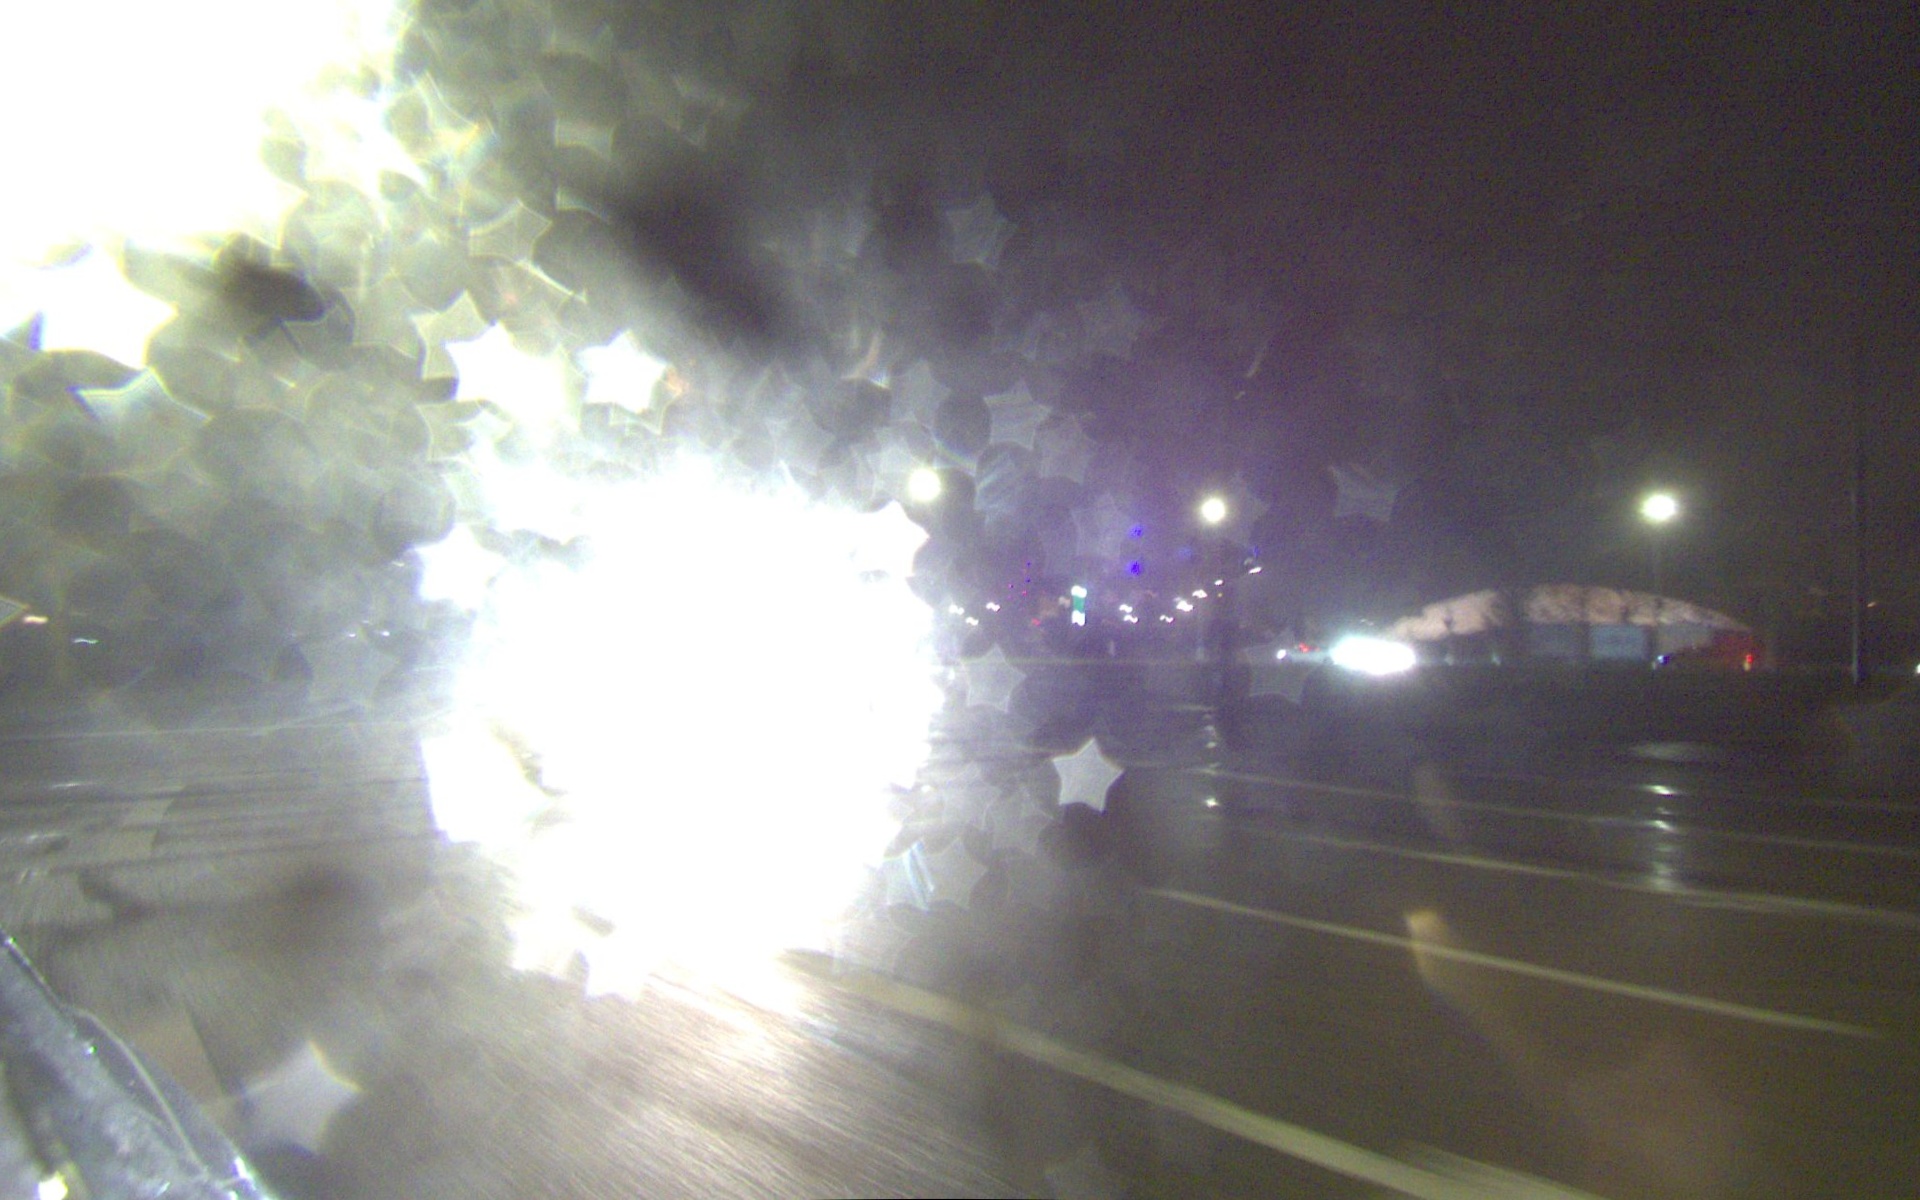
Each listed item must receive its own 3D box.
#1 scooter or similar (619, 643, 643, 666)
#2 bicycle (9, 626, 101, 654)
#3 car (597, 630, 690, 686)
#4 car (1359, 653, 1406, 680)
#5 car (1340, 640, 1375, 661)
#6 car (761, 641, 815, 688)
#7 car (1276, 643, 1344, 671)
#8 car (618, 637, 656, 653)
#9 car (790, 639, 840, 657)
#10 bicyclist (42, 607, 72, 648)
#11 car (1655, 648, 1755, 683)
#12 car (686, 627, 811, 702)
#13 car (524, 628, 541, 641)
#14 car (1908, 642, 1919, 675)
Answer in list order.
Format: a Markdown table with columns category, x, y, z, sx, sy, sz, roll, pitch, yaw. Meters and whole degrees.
| category | x | y | z | sx | sy | sz | roll | pitch | yaw |
| --- | --- | --- | --- | --- | --- | --- | --- | --- | --- |
| scooter or similar | -16.436 | 2.736 | 50.555 | 1.086 | 1.106 | 0.318 | 2 | -2 | -10 |
| bicycle | -32.459 | 1.431 | 36.316 | 2.380 | 0.984 | 0.623 | 0 | -2 | -21 |
| car | -10.564 | 1.887 | 34.097 | 1.923 | 1.732 | 4.443 | -1 | -2 | -2 |
| car | 27.922 | 4.373 | 66.995 | 1.738 | 1.586 | 3.994 | -1 | -2 | 5 |
| car | 30.794 | 3.895 | 78.536 | 1.660 | 1.542 | 3.989 | -1 | -2 | 8 |
| car | -6.834 | 2.527 | 40.561 | 1.807 | 1.719 | 4.198 | 0 | -2 | -5 |
| car | 21.423 | 3.483 | 62.073 | 3.838 | 1.630 | 1.764 | -1 | -2 | 16 |
| car | -36.904 | 5.124 | 115.708 | 5.042 | 1.729 | 2.040 | -2 | -3 | 44 |
| car | -12.076 | 3.995 | 84.442 | 3.935 | 1.383 | 1.810 | -2 | -2 | 32 |
| bicyclist | -32.418 | 0.978 | 36.347 | 0.595 | 1.458 | 0.618 | 0 | -2 | -21 |
| car | 36.857 | 3.197 | 50.185 | 3.864 | 1.630 | 1.752 | -2 | -2 | 35 |
| car | -4.753 | 1.415 | 23.458 | 1.810 | 1.538 | 4.872 | -1 | -2 | 1 |
| car | -58.445 | 4.734 | 138.327 | 2.034 | 1.729 | 5.057 | 0 | -2 | -23 |
| car | 45.078 | 2.624 | 45.106 | 4.016 | 1.455 | 1.808 | -2 | -3 | 41 |
